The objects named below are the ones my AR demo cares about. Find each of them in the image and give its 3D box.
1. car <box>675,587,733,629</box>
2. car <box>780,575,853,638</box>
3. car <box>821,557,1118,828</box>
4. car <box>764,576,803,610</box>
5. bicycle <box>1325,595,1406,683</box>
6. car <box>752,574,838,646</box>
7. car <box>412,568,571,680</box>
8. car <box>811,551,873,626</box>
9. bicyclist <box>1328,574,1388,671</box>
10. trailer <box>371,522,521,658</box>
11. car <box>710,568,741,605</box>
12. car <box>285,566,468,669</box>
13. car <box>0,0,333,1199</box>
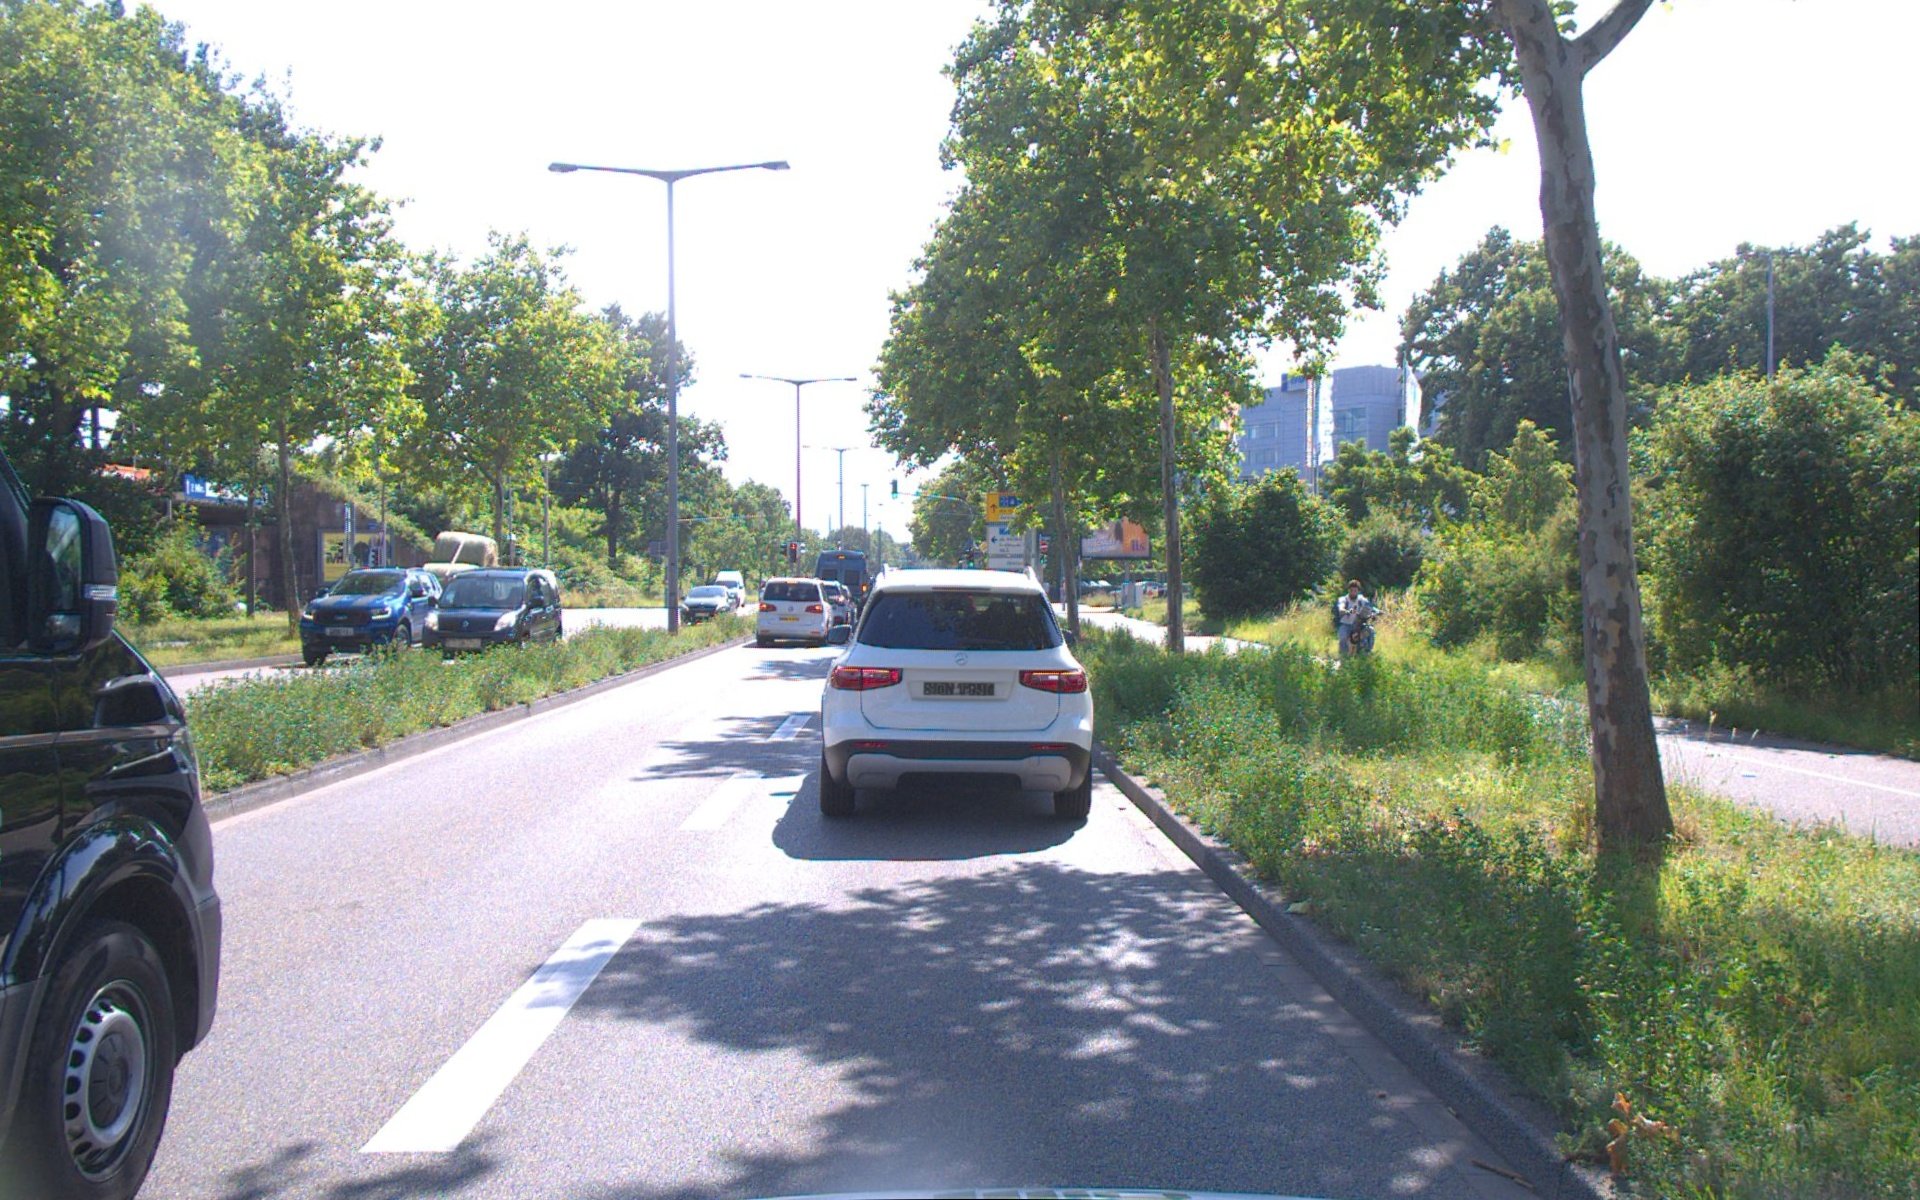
[{"bbox_3d":[-9.393,0.273,60.794,1.570,1.497,3.789,1,0,-1],"label":"car"},{"bbox_3d":[-4.042,0.168,47.136,1.735,1.676,4.084,1,0,-1],"label":"car"},{"bbox_3d":[-0.087,0.543,12.086,1.817,1.635,3.996,0,0,-4],"label":"car"},{"bbox_3d":[-10.532,-0.399,98.774,1.953,1.914,3.999,2,0,-2],"label":"car"},{"bbox_3d":[6.339,0.584,25.972,0.708,1.321,2.095,1,0,-1],"label":"bicycle"},{"bbox_3d":[-4.064,0.225,41.292,1.735,1.676,4.351,1,0,-1],"label":"car"},{"bbox_3d":[-8.450,0.401,30.177,1.696,1.841,4.231,2,0,-1],"label":"car"},{"bbox_3d":[-4.470,-0.437,63.393,2.039,2.703,4.873,1,0,-1],"label":"car"},{"bbox_3d":[6.353,0.353,26.453,0.690,1.503,1.009,1,0,-1],"label":"bicyclist"},{"bbox_3d":[-11.400,-0.219,37.047,1.842,2.791,4.828,2,0,-1],"label":"trailer"},{"bbox_3d":[-15.848,-0.915,111.894,1.955,2.460,5.132,1,0,-7],"label":"car"},{"bbox_3d":[-11.355,0.303,32.618,1.728,1.821,5.375,2,0,-1],"label":"car"},{"bbox_3d":[-2.718,0.114,1.533,1.975,2.653,6.167,1,0,-1],"label":"car"}]
